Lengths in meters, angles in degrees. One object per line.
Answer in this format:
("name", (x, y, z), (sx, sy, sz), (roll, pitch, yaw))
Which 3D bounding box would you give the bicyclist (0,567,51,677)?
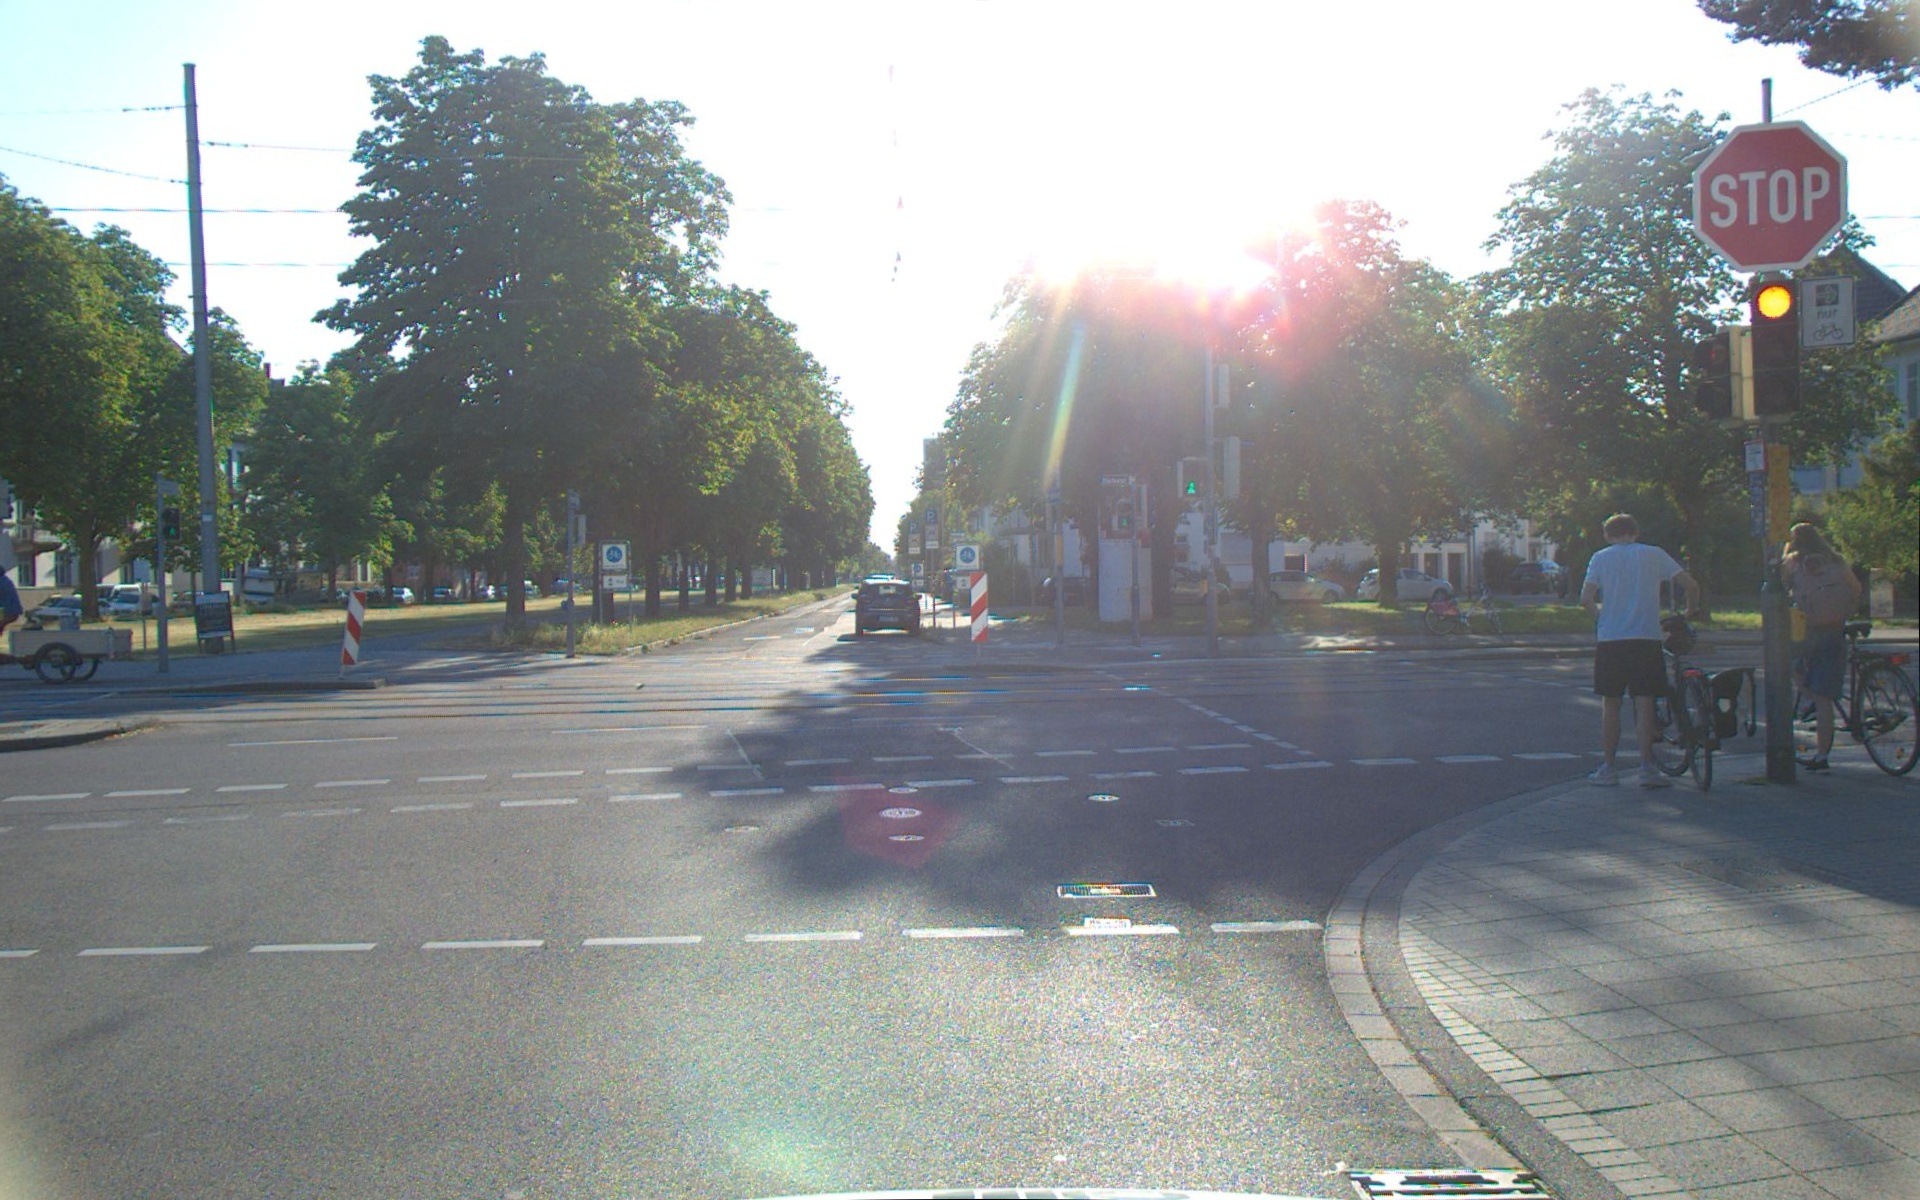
("bicyclist", (-15.558, 0.365, 26.786), (1.121, 1.753, 0.875), (-2, 0, 2))

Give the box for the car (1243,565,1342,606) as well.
("car", (13.151, -0.553, 65.507), (3.487, 1.542, 1.602), (-1, 0, -8))

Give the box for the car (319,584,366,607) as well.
("car", (-46.988, -0.329, 125.989), (1.953, 1.688, 4.373), (1, 0, -1))

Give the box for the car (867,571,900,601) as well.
("car", (-4.817, -0.893, 103.652), (1.954, 1.812, 3.998), (1, 1, -3))

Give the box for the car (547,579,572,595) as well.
("car", (-45.062, -1.459, 186.218), (1.954, 1.688, 4.568), (-1, 1, -3))

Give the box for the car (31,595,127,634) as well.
("car", (-40.209, 0.666, 75.603), (1.953, 1.688, 4.569), (1, 0, -1))

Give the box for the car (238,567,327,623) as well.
("car", (-41.070, -0.330, 100.498), (2.344, 3.185, 7.850), (1, 1, -2))

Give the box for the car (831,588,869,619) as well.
("car", (-5.168, 0.181, 78.289), (1.675, 1.383, 4.201), (1, 0, -2))

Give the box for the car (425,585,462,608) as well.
("car", (-42.489, -0.268, 136.154), (1.775, 1.812, 4.121), (1, 0, -2))

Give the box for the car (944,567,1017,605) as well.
("car", (1.144, -0.784, 93.545), (3.911, 1.854, 1.757), (-2, -5, -7))

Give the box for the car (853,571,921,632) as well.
("car", (-1.920, 0.047, 44.517), (1.690, 1.537, 4.539), (1, 0, -1))

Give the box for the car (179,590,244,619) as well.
("car", (-46.089, 0.289, 101.994), (1.953, 1.688, 4.569), (1, 0, -1))

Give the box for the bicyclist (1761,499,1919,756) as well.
("bicyclist", (5.774, 0.173, 10.771), (0.697, 1.590, 0.894), (1, 0, 3))

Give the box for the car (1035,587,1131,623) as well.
("car", (5.230, 0.216, 70.695), (3.907, 1.472, 1.715), (-1, 0, -3))

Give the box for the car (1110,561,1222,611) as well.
("car", (8.143, -0.547, 65.613), (4.157, 1.908, 2.029), (-1, 0, -3))

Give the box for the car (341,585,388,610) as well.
("car", (-41.741, -0.187, 115.986), (1.841, 1.703, 4.313), (1, 0, -2))

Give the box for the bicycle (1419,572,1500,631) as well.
("bicycle", (9.978, 0.026, 33.087), (1.489, 1.108, 0.468), (-1, 4, 7))

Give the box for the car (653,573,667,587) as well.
("car", (-45.915, -3.088, 253.296), (1.621, 1.972, 3.565), (1, -1, -3))

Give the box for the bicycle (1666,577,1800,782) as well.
("bicycle", (4.986, 0.455, 10.757), (0.560, 1.204, 1.906), (1, 1, 19))

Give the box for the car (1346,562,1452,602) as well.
("car", (17.563, -0.702, 66.251), (3.847, 1.550, 1.521), (0, -1, -8))

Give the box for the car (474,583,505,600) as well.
("car", (-48.868, -0.892, 171.895), (1.953, 1.688, 4.354), (1, 0, -1))

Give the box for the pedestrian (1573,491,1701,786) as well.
("pedestrian", (4.570, 0.250, 11.208), (0.614, 1.899, 0.775), (-4, 0, 18))

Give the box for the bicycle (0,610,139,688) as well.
("bicycle", (-15.001, 0.804, 26.742), (3.009, 1.182, 0.875), (-2, 0, 2))

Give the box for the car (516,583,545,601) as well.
("car", (-43.320, -0.799, 166.881), (1.982, 1.688, 3.982), (1, 0, -2))

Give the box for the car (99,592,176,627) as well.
("car", (-40.240, 0.452, 81.012), (1.760, 1.581, 4.416), (1, 1, -4))
